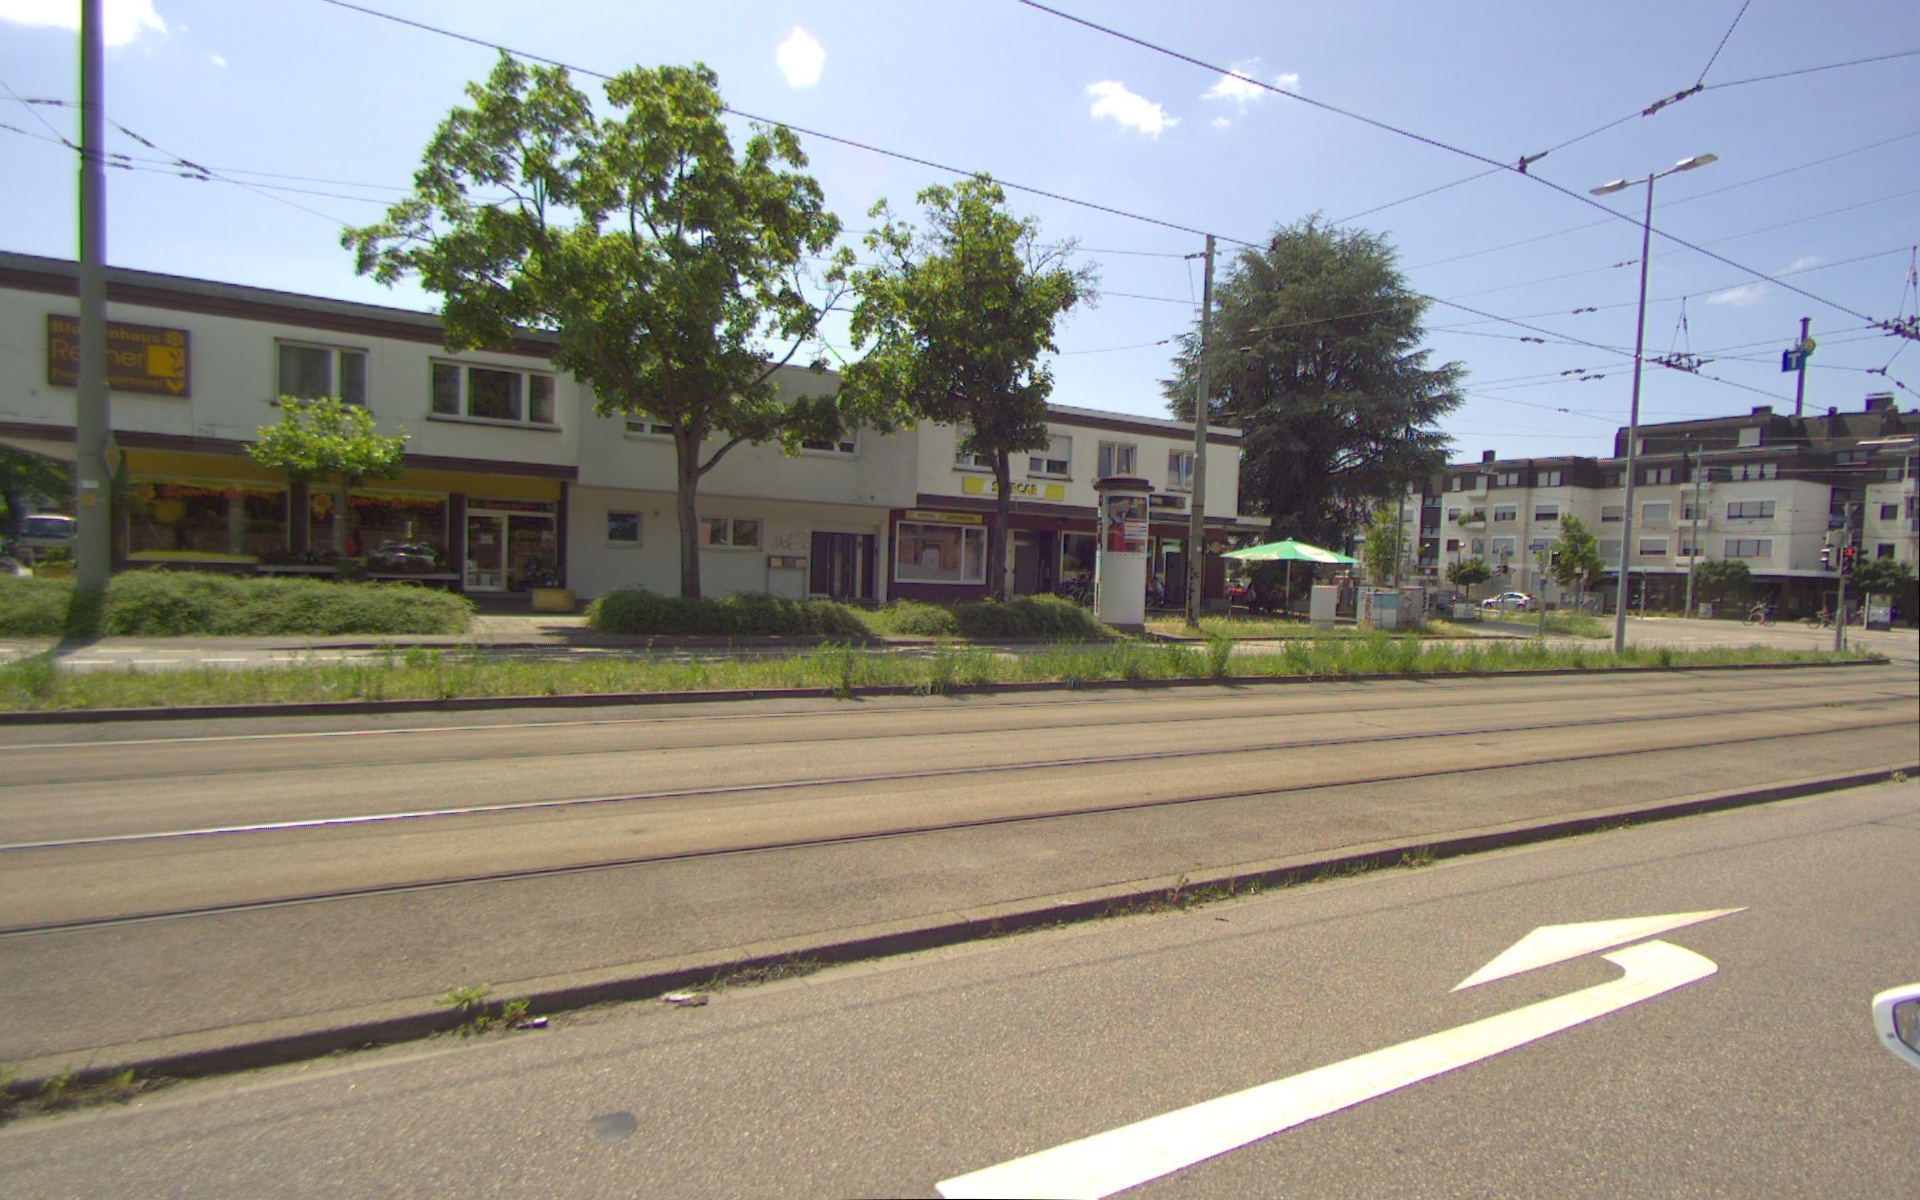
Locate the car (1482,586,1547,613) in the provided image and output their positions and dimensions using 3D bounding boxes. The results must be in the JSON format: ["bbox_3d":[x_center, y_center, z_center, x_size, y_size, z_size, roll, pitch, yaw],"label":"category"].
[{"bbox_3d":[43.435,-0.069,78.687,1.977,1.938,3.966,1,2,-31],"label":"car"}]

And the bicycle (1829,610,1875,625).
[{"bbox_3d":[60.027,1.178,67.629,2.212,0.947,0.672,2,0,15],"label":"bicycle"}]

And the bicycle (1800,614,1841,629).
[{"bbox_3d":[55.697,1.416,65.037,2.212,0.893,0.418,2,0,2],"label":"bicycle"}]

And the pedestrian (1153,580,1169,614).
[{"bbox_3d":[7.671,-0.124,38.261,0.447,1.285,0.339,1,2,-27],"label":"pedestrian"}]

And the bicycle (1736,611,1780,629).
[{"bbox_3d":[52.615,1.296,66.238,2.213,1.115,0.517,2,0,21],"label":"bicycle"}]

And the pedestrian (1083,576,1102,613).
[{"bbox_3d":[4.697,-0.201,35.703,0.526,1.285,0.351,1,2,-29],"label":"pedestrian"}]

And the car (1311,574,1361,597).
[{"bbox_3d":[35.063,-1.352,93.754,1.975,2.041,3.971,1,2,-28],"label":"car"}]

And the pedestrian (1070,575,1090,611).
[{"bbox_3d":[4.361,-0.258,36.428,0.573,1.285,0.350,1,2,-29],"label":"pedestrian"}]

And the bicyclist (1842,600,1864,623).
[{"bbox_3d":[60.101,0.756,67.598,0.832,1.487,0.656,2,0,17],"label":"bicyclist"}]

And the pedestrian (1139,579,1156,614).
[{"bbox_3d":[6.893,-0.122,36.988,0.495,1.285,0.317,1,2,-29],"label":"pedestrian"}]

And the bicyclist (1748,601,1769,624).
[{"bbox_3d":[52.633,0.806,66.230,0.837,1.507,0.737,2,0,19],"label":"bicyclist"}]

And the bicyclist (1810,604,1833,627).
[{"bbox_3d":[55.777,0.977,65.029,0.945,1.441,0.631,2,0,3],"label":"bicyclist"}]
